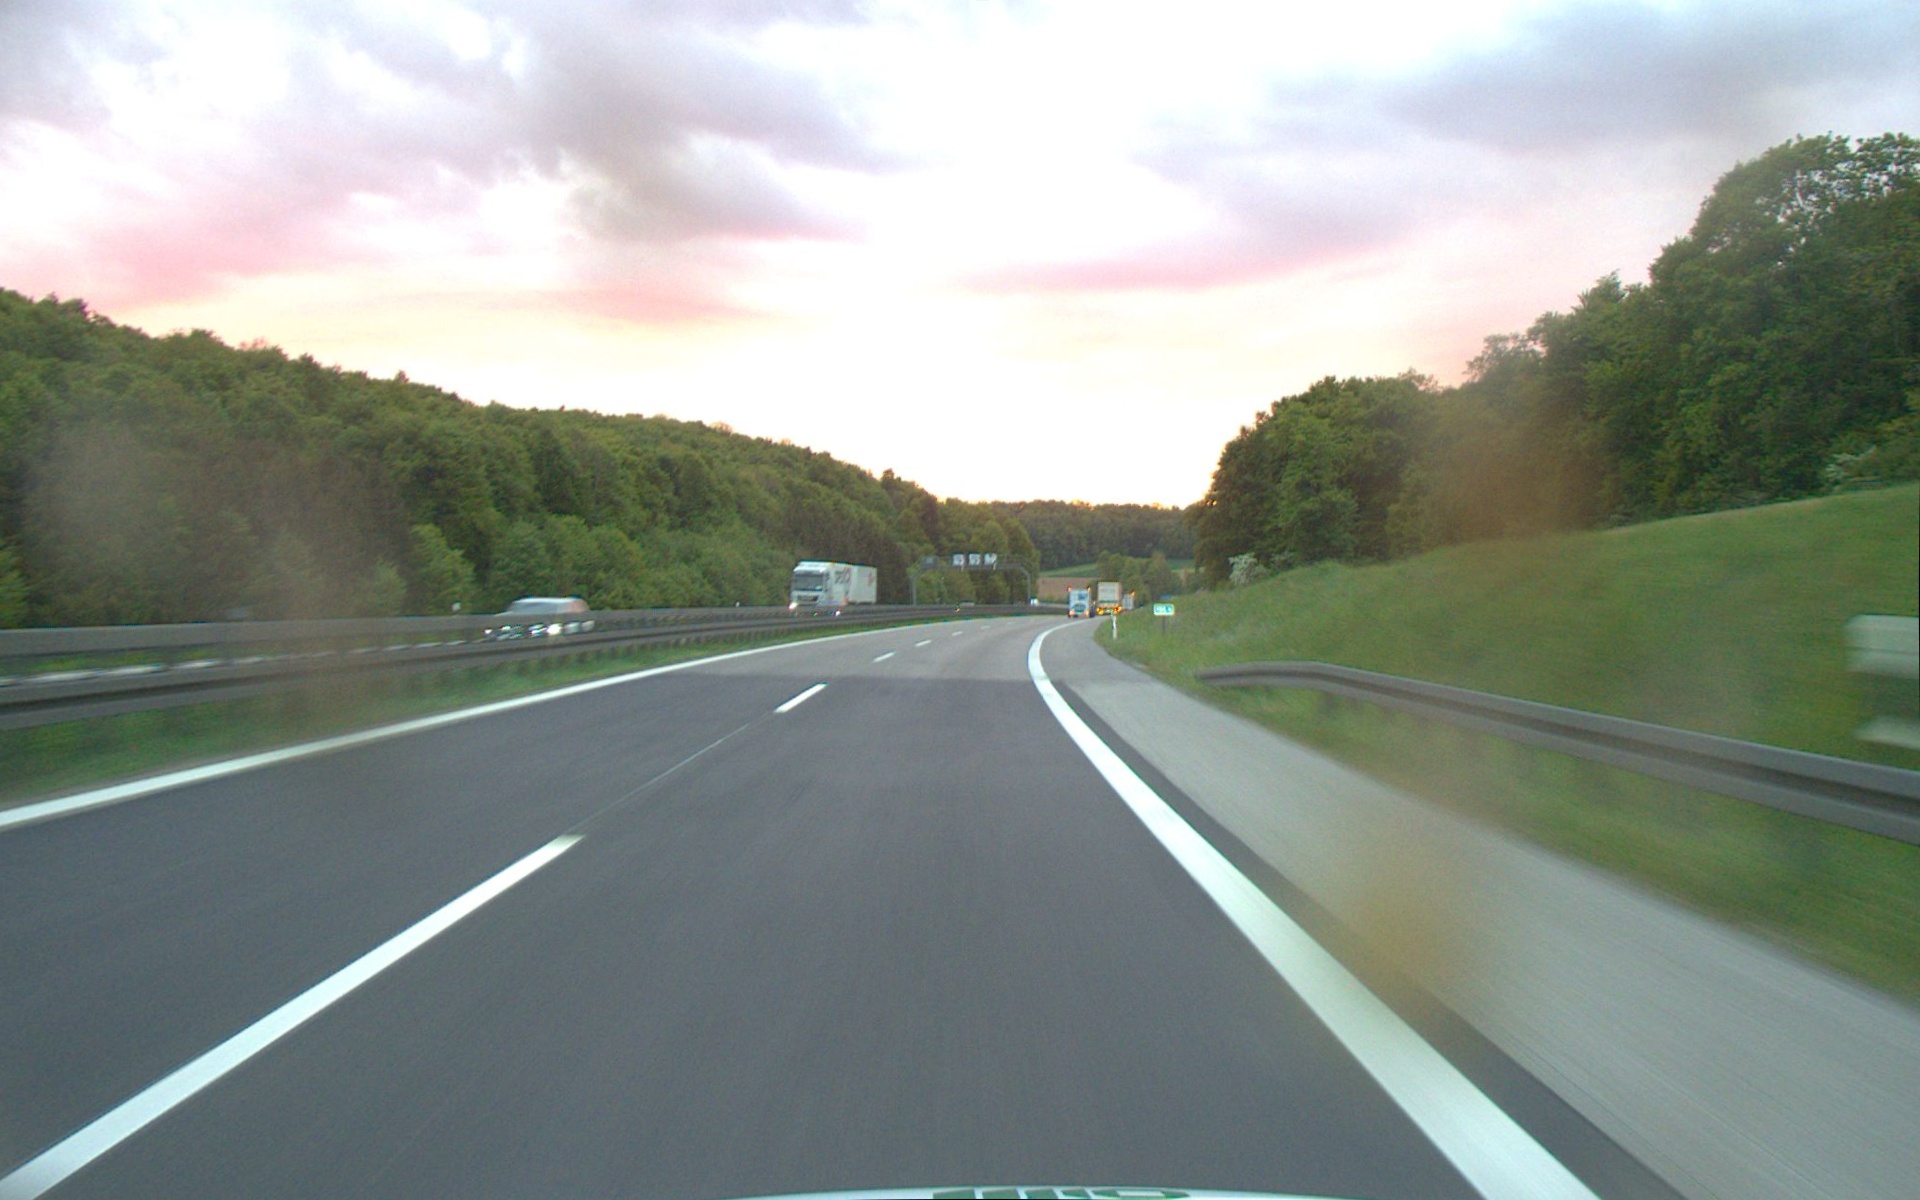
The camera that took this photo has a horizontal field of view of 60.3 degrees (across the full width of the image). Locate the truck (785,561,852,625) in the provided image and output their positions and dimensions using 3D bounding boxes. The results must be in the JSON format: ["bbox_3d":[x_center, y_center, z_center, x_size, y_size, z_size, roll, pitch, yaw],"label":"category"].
[{"bbox_3d":[-9.943,-0.522,117.613,2.804,4.356,10.073,0,0,7],"label":"truck"}]

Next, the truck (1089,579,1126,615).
[{"bbox_3d":[18.927,-0.495,211.038,3.873,4.361,14.336,-1,1,8],"label":"truck"}]

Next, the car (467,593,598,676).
[{"bbox_3d":[-11.439,0.877,44.677,1.952,2.049,5.171,-2,0,2],"label":"car"}]

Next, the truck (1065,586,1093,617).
[{"bbox_3d":[11.203,0.113,155.691,2.227,2.711,5.241,-2,2,8],"label":"truck"}]

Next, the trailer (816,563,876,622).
[{"bbox_3d":[-8.708,-0.574,127.235,2.771,4.392,9.300,0,0,8],"label":"trailer"}]
